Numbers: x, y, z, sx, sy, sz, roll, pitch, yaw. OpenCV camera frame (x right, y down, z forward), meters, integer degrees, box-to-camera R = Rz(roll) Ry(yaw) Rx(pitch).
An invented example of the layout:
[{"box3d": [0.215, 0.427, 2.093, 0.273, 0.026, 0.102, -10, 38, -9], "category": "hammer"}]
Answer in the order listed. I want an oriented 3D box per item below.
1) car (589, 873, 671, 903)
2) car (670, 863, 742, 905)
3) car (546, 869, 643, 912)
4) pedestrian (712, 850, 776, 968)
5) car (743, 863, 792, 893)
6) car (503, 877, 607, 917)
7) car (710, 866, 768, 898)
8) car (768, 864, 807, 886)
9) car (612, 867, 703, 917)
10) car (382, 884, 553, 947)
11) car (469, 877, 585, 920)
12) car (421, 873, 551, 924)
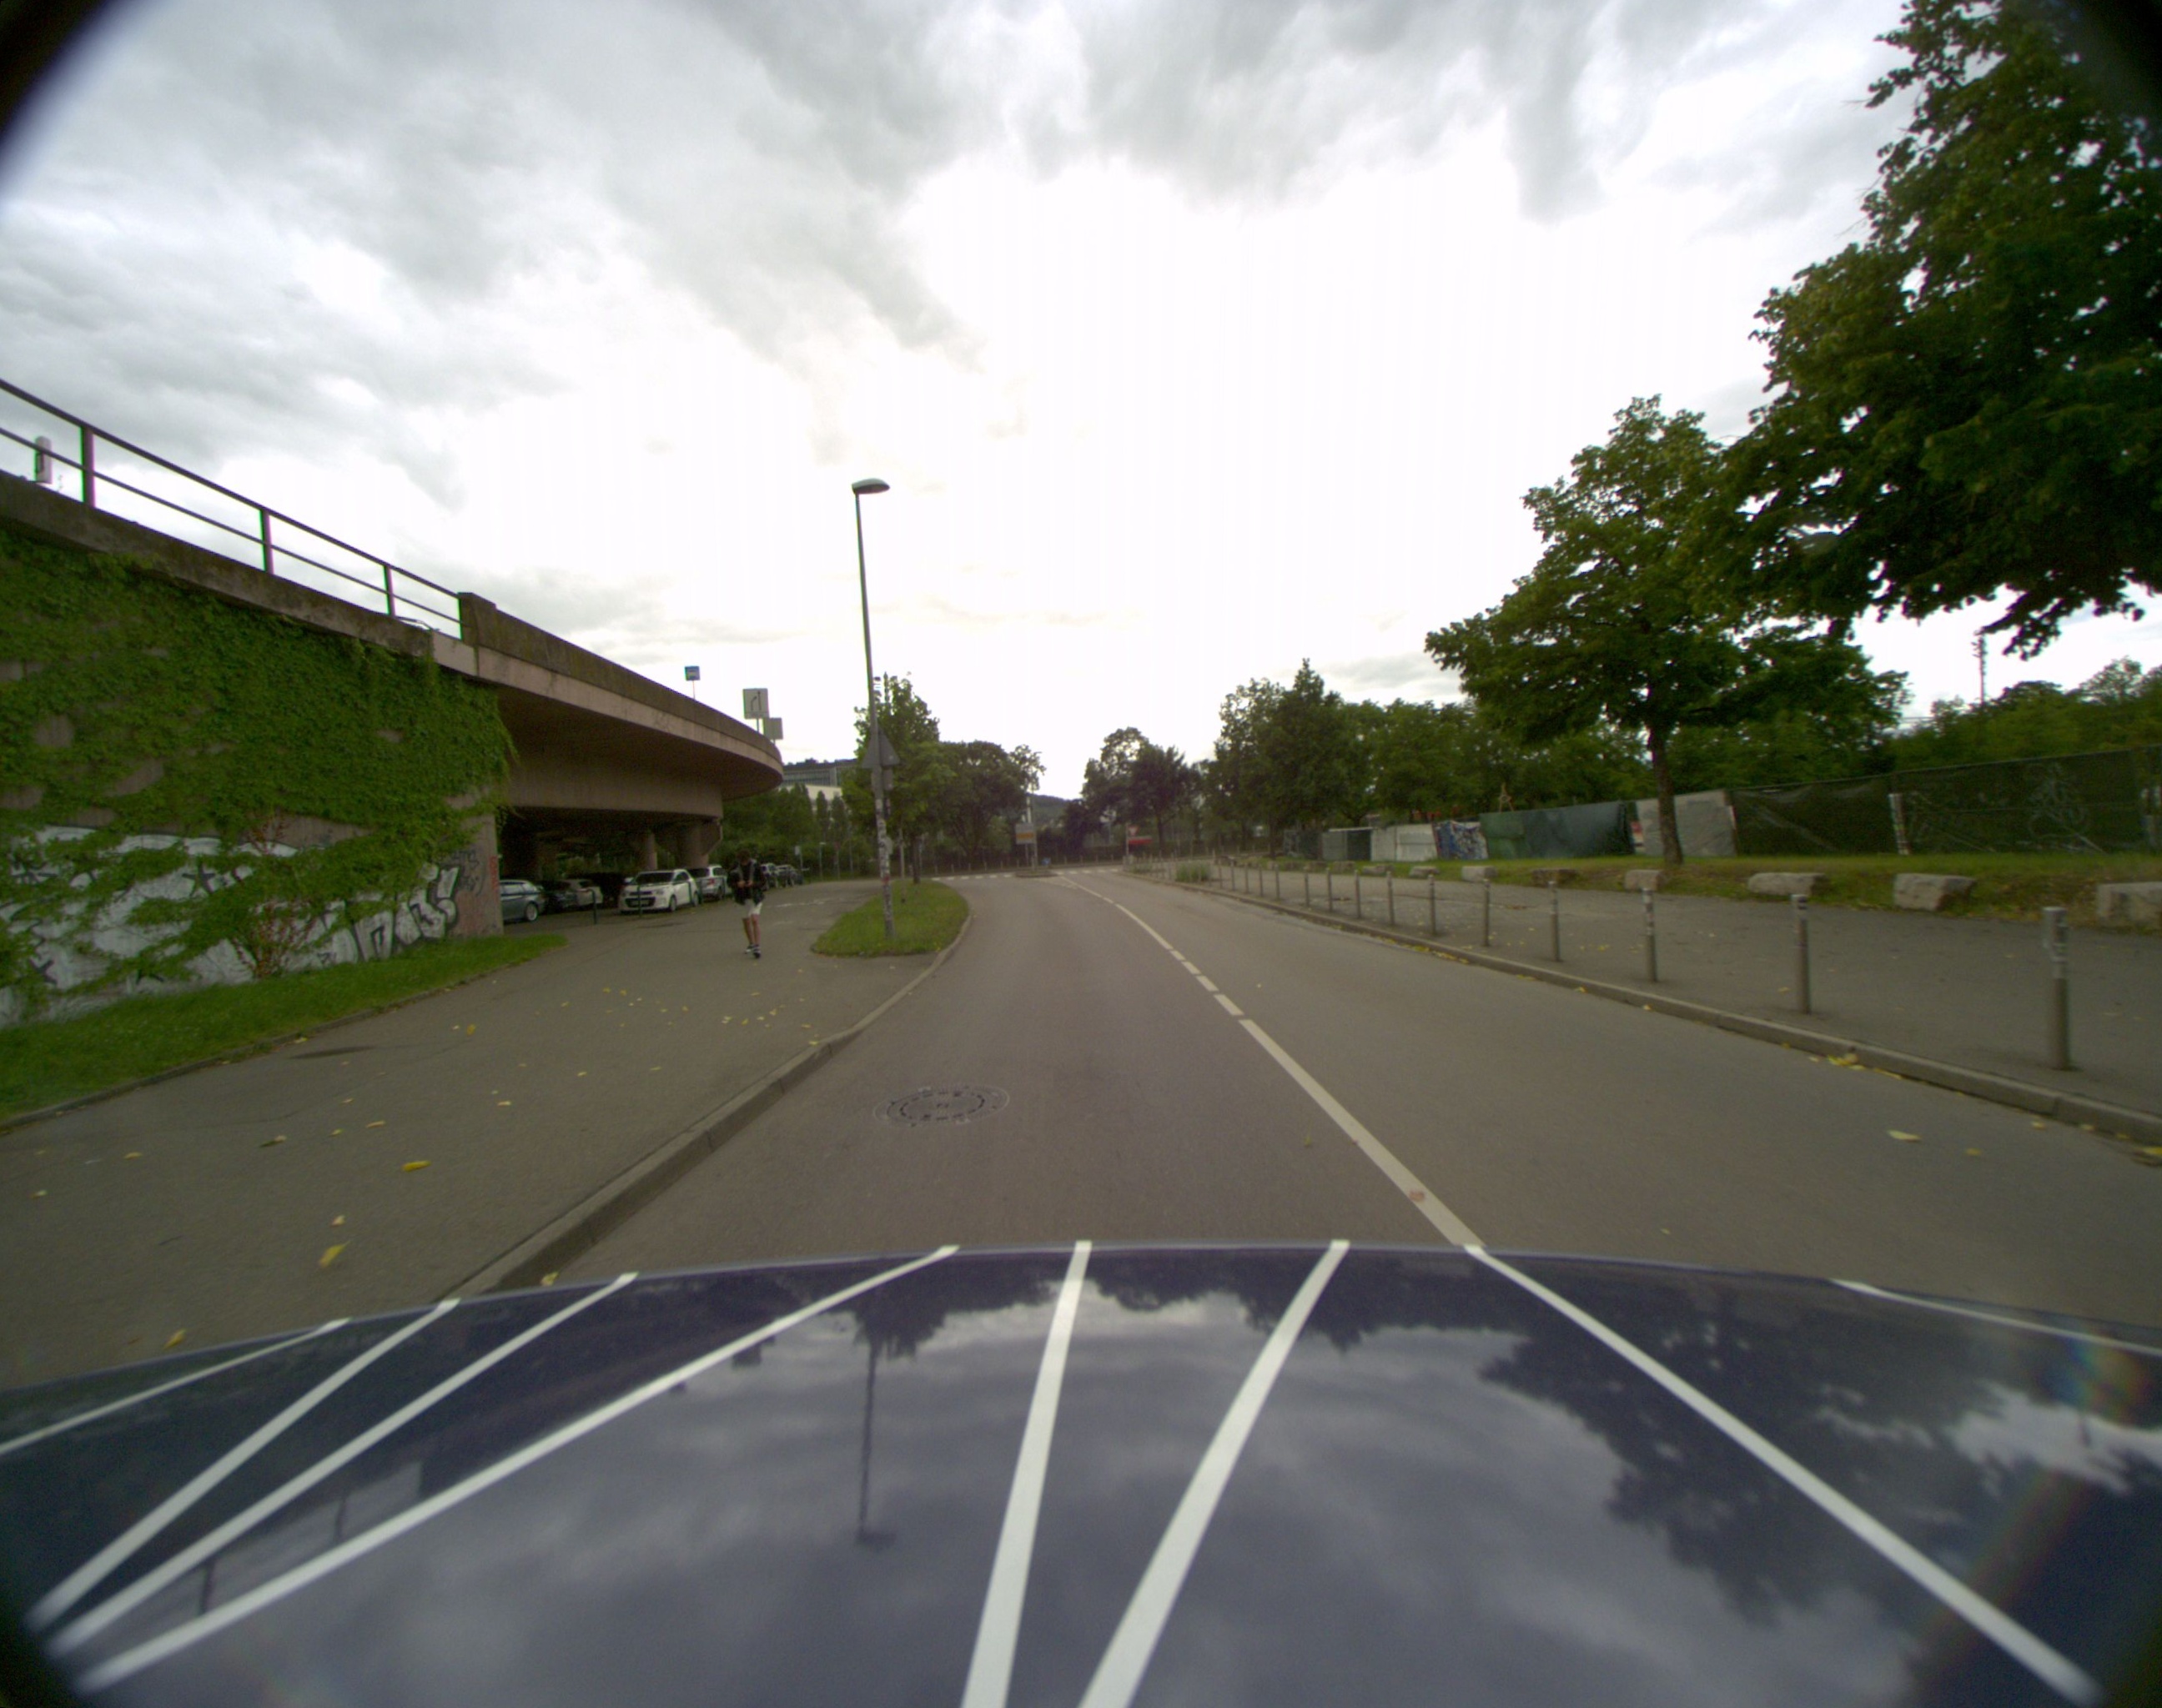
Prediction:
[{"box3d": [-23.288, 1.765, 39.338, 3.319, 1.287, 1.351, -3, 0, -5], "category": "car"}, {"box3d": [-15.509, 1.188, 31.639, 1.616, 1.521, 3.914, -5, 1, -11], "category": "car"}, {"box3d": [-22.128, 1.646, 34.652, 3.319, 1.677, 1.435, -4, 1, -5], "category": "car"}, {"box3d": [-5.602, 0.874, 12.711, 0.823, 1.869, 1.179, -1, 0, -18], "category": "pedestrian"}, {"box3d": [-17.404, 1.311, 42.356, 1.628, 1.366, 4.172, -9, 1, -12], "category": "car"}, {"box3d": [-22.344, 1.808, 32.363, 3.319, 1.401, 1.351, -4, 1, -5], "category": "car"}, {"box3d": [-16.594, 1.313, 37.046, 1.628, 1.308, 3.773, -6, 1, -11], "category": "car"}, {"box3d": [-18.433, 1.265, 47.848, 1.628, 1.231, 4.055, -3, 0, -12], "category": "car"}, {"box3d": [-14.563, 1.272, 26.355, 1.611, 1.437, 3.472, -3, 1, -10], "category": "car"}, {"box3d": [-17.833, 1.718, 22.414, 1.642, 1.378, 4.472, -2, 1, -5], "category": "car"}, {"box3d": [-21.867, 1.739, 30.072, 3.319, 1.390, 1.552, -4, 0, -5], "category": "car"}, {"box3d": [-21.736, 1.612, 27.869, 3.319, 1.588, 1.667, -4, 0, -5], "category": "car"}]
